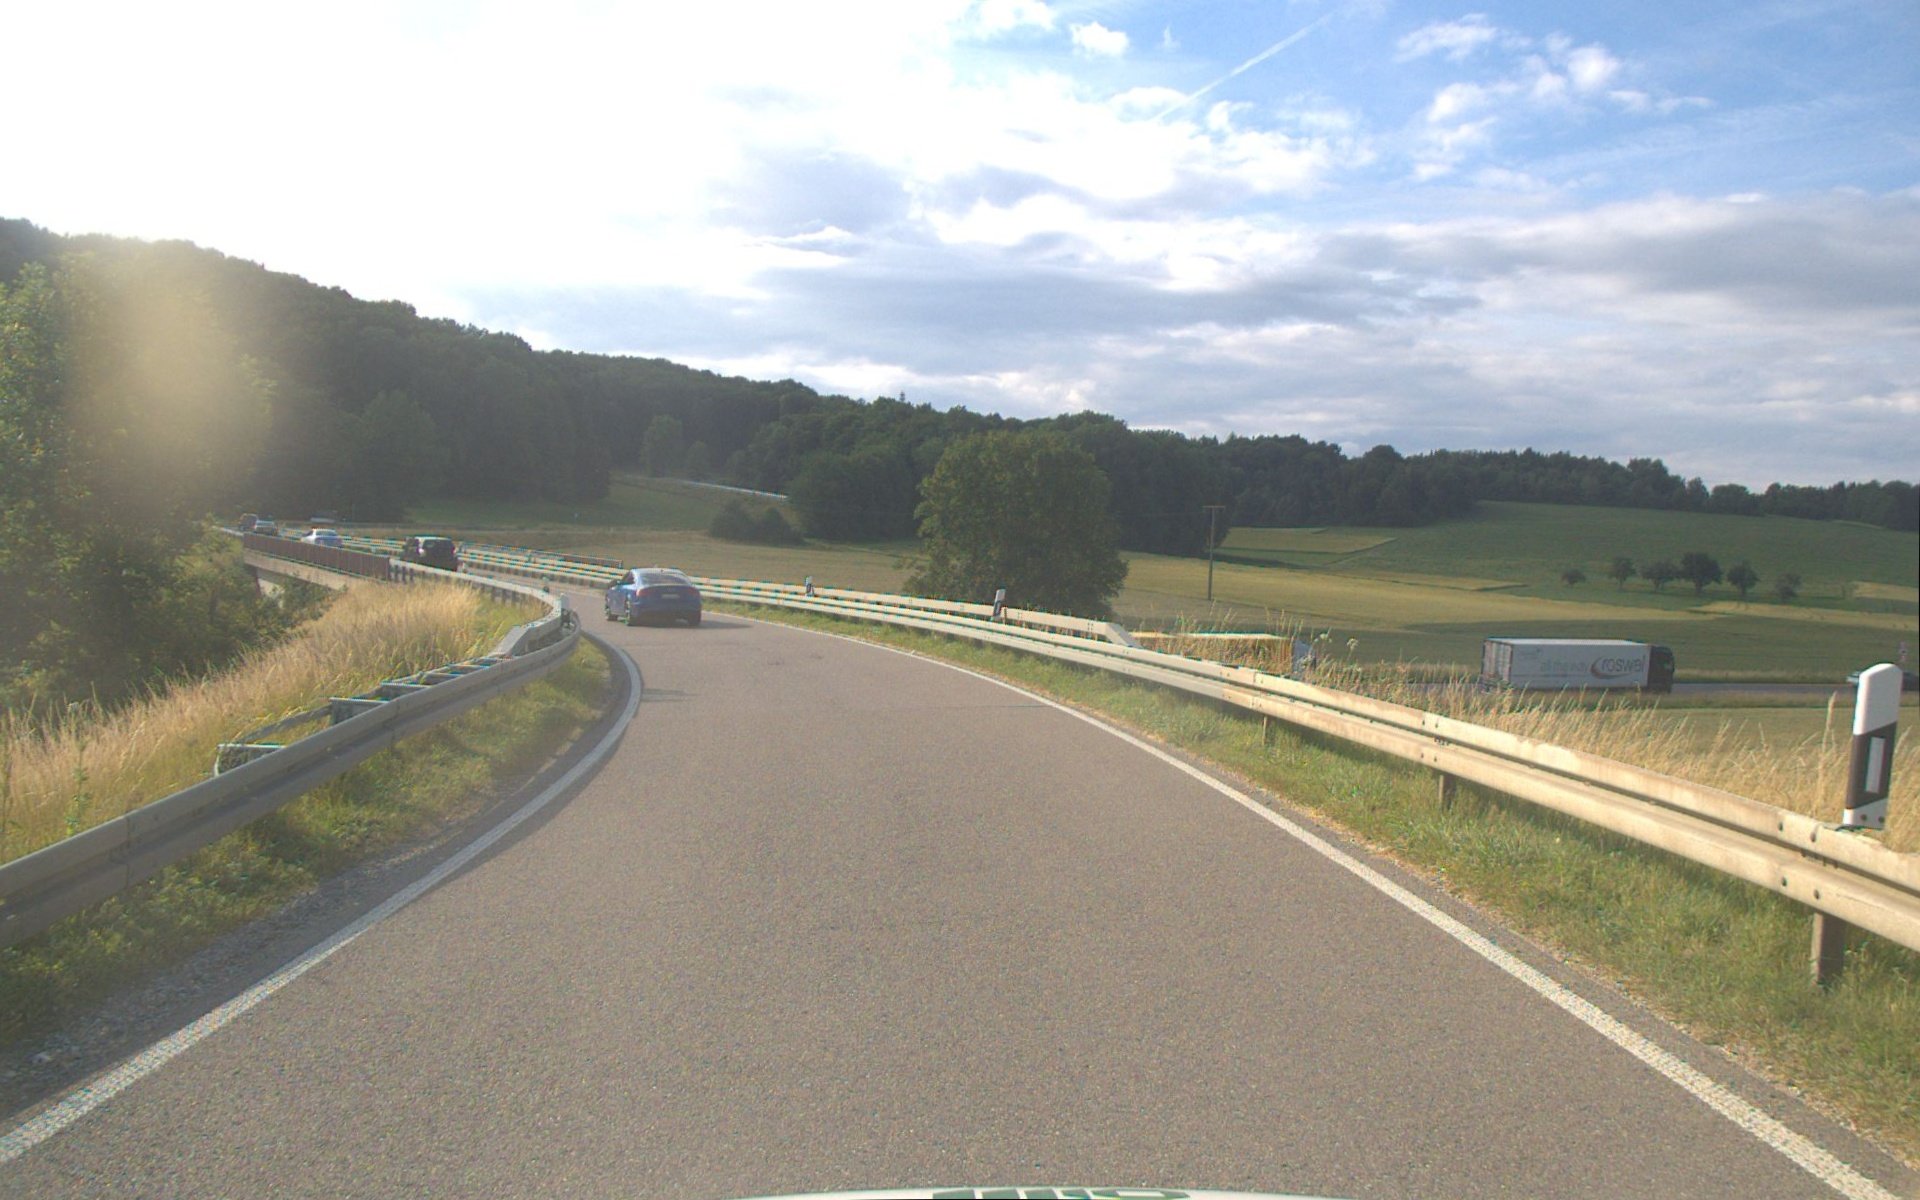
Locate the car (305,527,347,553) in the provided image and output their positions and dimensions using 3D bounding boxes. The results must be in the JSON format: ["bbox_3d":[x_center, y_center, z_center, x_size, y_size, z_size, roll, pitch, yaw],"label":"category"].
[{"bbox_3d":[-37.730,-3.569,98.387,1.665,1.400,3.960,1,2,-30],"label":"car"}]

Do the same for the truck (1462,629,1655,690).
[{"bbox_3d":[41.462,4.038,114.323,14.207,4.067,4.043,1,-1,-27],"label":"truck"}]

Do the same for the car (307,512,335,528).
[{"bbox_3d":[-74.409,-9.269,192.639,1.955,1.802,3.997,-1,2,-5],"label":"car"}]

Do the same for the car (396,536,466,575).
[{"bbox_3d":[-23.641,-2.012,73.866,1.847,1.596,3.951,2,2,-35],"label":"car"}]

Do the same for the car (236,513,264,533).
[{"bbox_3d":[-67.967,-7.344,158.419,1.963,1.708,4.157,4,0,-18],"label":"car"}]

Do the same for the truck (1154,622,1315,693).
[{"bbox_3d":[16.975,3.532,102.009,9.668,4.131,3.798,1,0,-31],"label":"truck"}]

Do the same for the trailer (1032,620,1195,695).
[{"bbox_3d":[9.062,3.357,97.251,9.005,4.131,3.798,1,0,-31],"label":"trailer"}]

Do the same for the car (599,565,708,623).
[{"bbox_3d":[-7.767,-0.185,41.641,1.794,1.362,4.319,1,1,-23],"label":"car"}]

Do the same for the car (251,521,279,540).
[{"bbox_3d":[-49.976,-5.010,118.866,1.456,1.248,3.267,2,2,-30],"label":"car"}]
